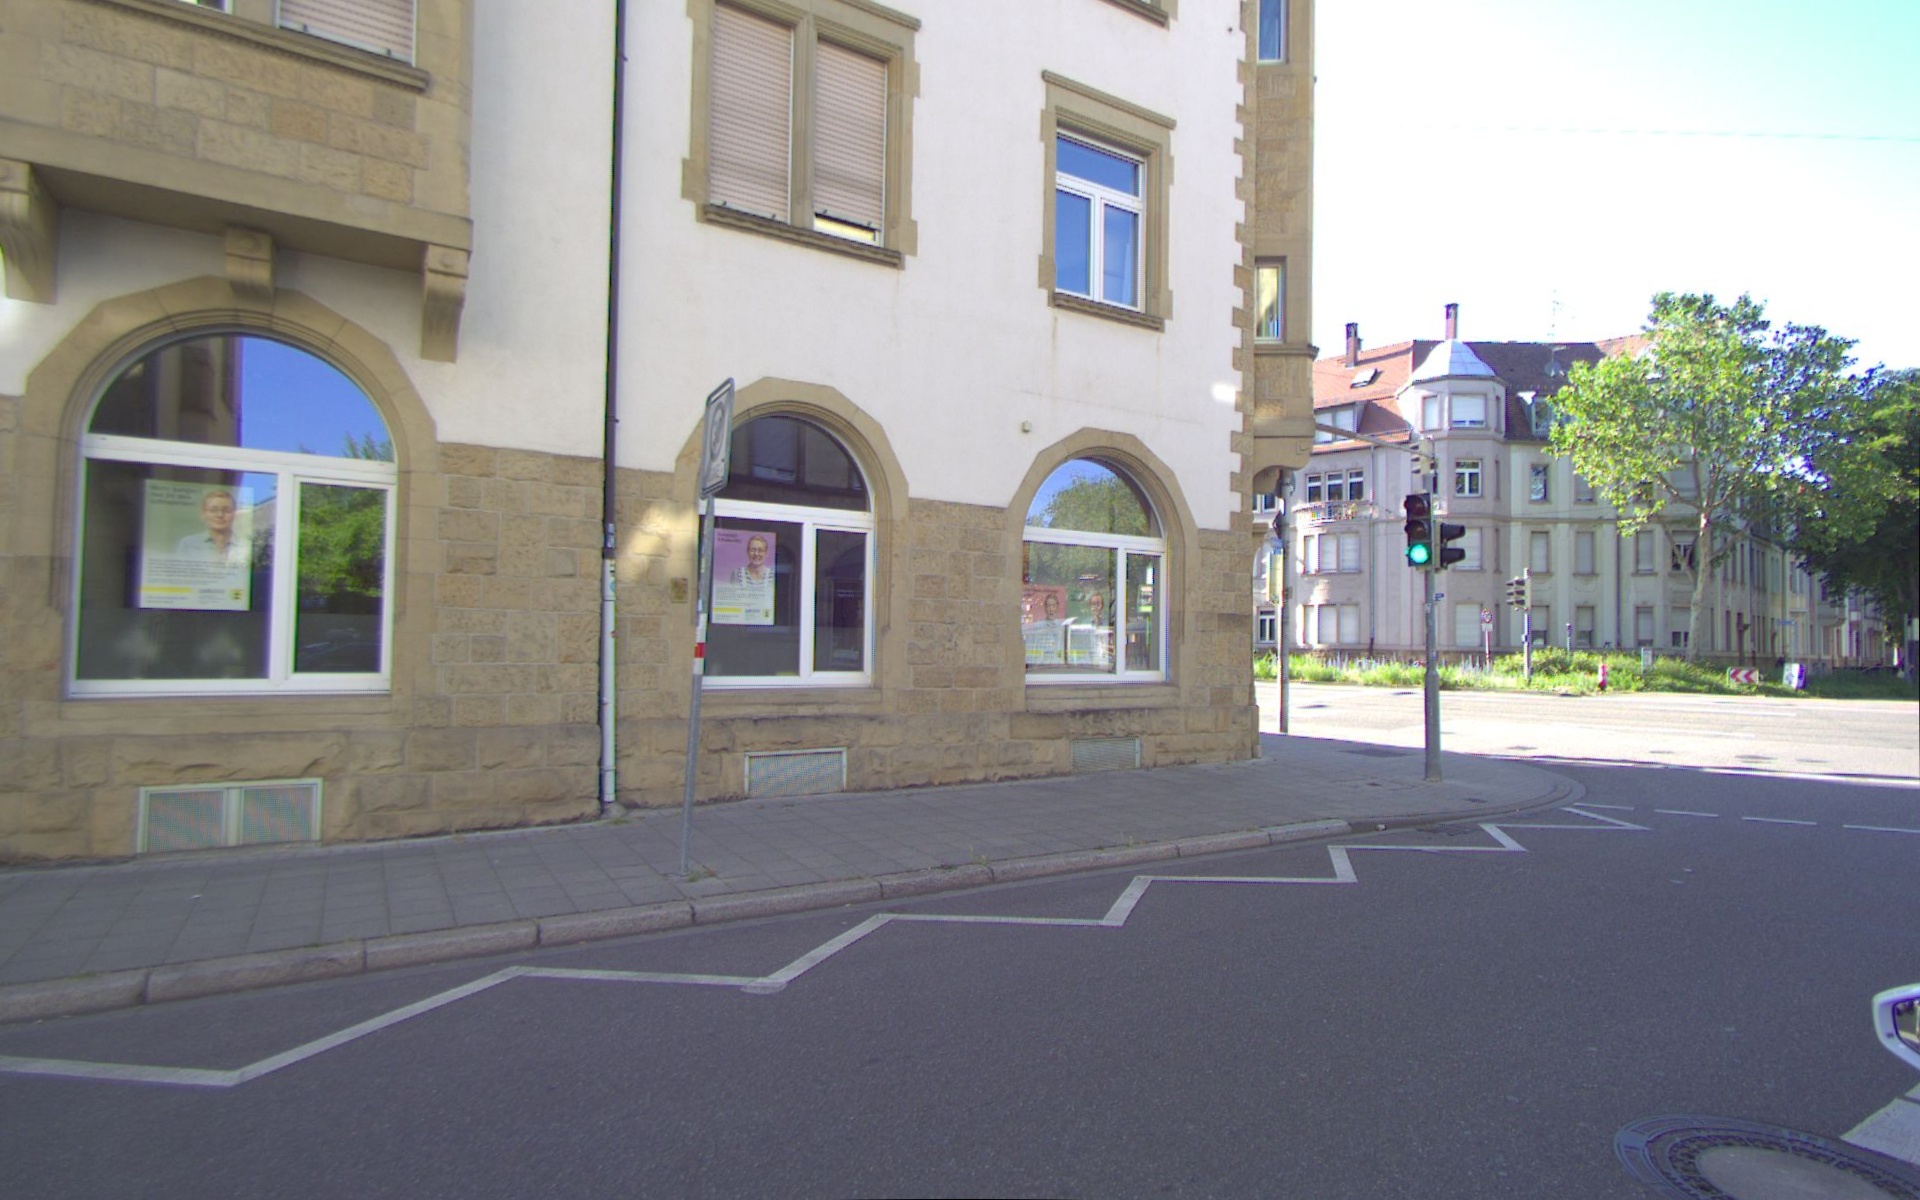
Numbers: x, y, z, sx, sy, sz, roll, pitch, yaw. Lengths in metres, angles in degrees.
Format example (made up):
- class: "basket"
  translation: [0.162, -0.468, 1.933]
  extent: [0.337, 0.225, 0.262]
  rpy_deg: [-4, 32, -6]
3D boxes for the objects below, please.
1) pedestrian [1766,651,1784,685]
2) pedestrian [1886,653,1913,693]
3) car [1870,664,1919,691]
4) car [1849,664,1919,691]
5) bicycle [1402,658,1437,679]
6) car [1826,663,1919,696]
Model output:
- class: "pedestrian"
  translation: [41.319, 3.455, 50.917]
  extent: [0.885, 1.679, 0.457]
  rpy_deg: [3, -3, -35]
- class: "pedestrian"
  translation: [40.368, 3.139, 43.161]
  extent: [0.672, 1.704, 0.690]
  rpy_deg: [3, -3, -32]
- class: "car"
  translation: [56.923, 4.635, 59.761]
  extent: [1.771, 1.502, 3.953]
  rpy_deg: [4, -3, -40]
- class: "car"
  translation: [53.127, 4.384, 56.758]
  extent: [1.691, 1.366, 4.173]
  rpy_deg: [5, -4, -42]
- class: "bicycle"
  translation: [21.170, 3.154, 46.299]
  extent: [1.419, 0.916, 0.494]
  rpy_deg: [-1, -4, 44]
- class: "car"
  translation: [45.069, 3.881, 49.218]
  extent: [1.604, 1.495, 3.847]
  rpy_deg: [4, -5, -42]
